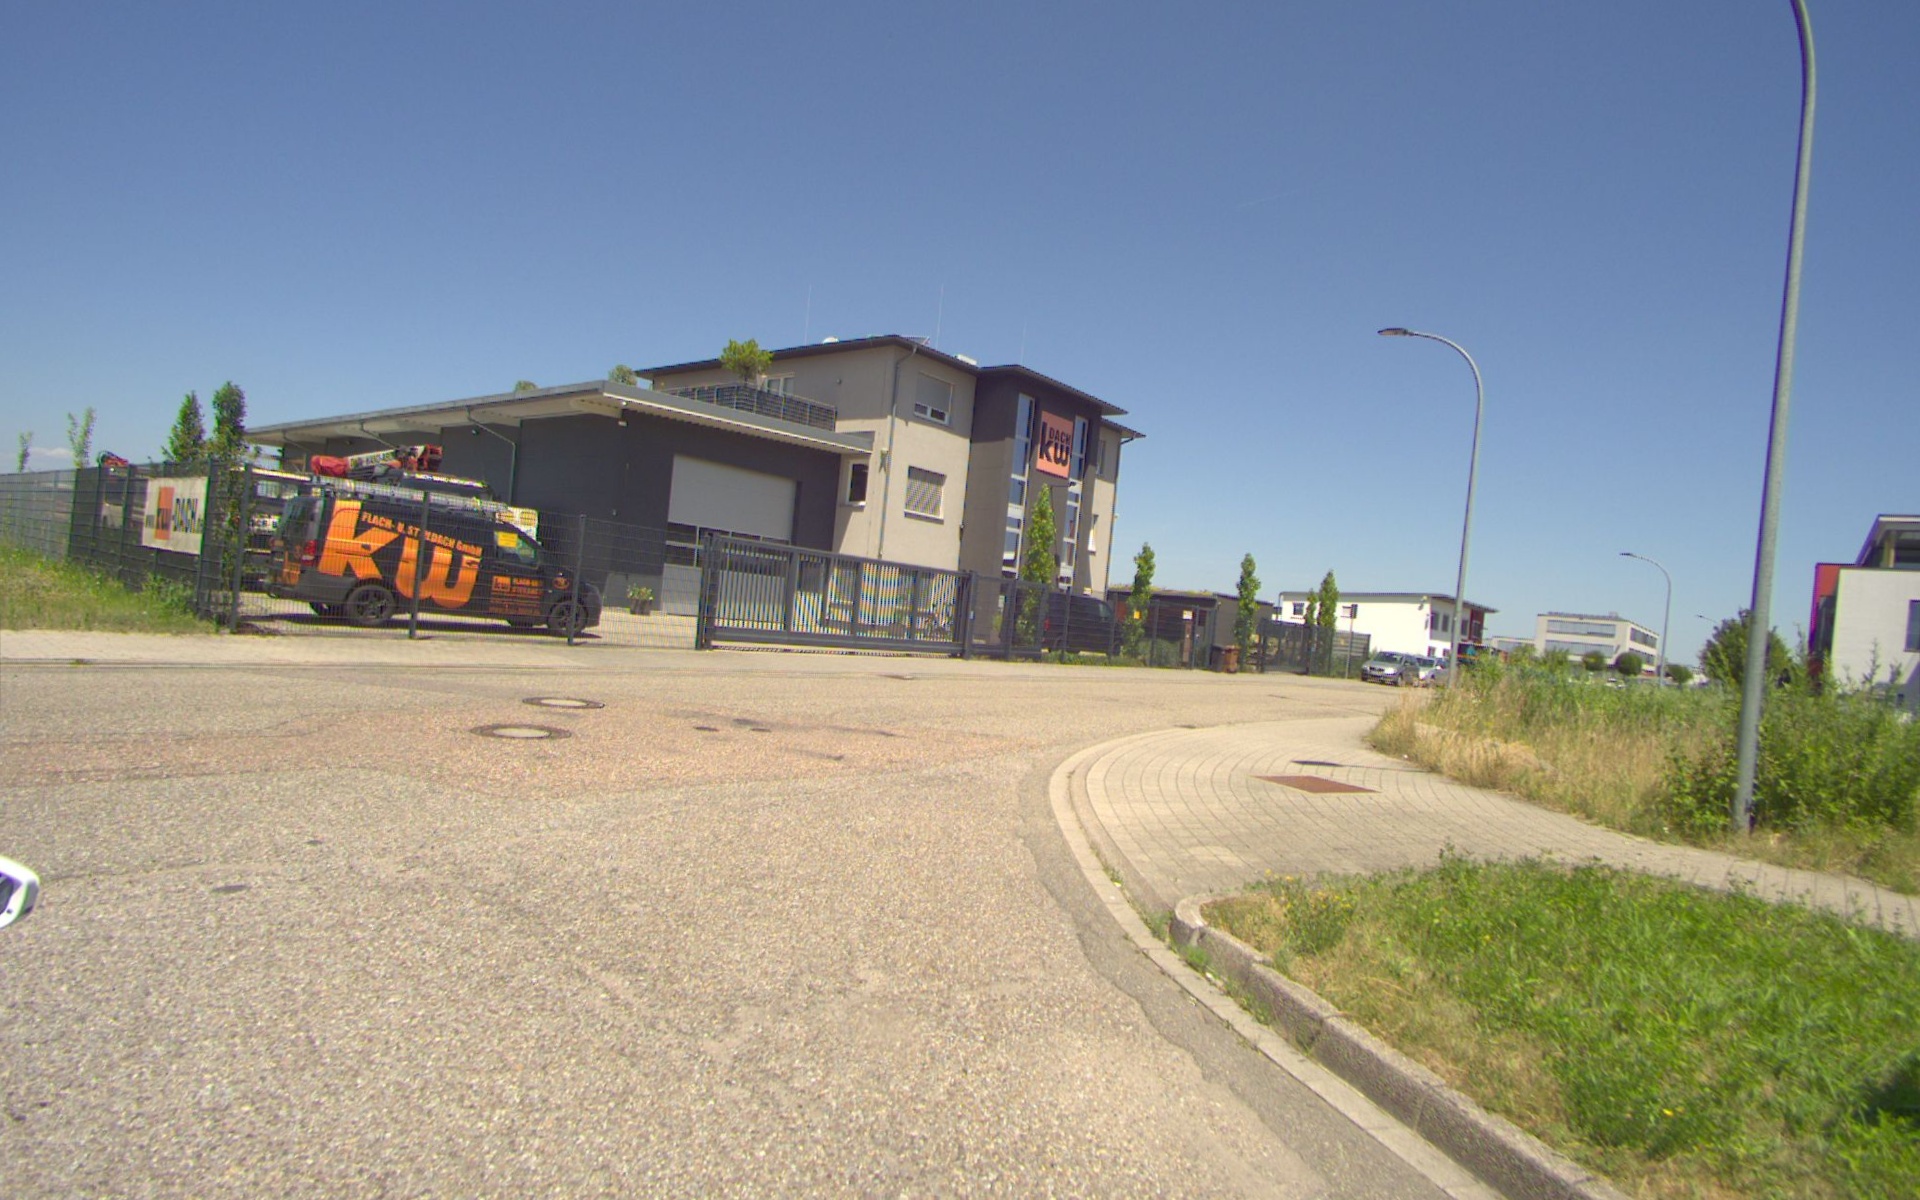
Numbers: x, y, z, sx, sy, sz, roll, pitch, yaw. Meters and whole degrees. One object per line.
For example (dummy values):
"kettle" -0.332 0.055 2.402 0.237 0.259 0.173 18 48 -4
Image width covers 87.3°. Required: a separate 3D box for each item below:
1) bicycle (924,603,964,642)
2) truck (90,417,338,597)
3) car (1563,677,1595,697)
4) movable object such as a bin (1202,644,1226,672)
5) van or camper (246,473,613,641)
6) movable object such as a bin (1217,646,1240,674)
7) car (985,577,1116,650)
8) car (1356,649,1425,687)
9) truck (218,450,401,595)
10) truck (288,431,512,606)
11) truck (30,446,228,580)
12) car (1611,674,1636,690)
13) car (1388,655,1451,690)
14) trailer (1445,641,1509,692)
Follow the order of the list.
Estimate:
"bicycle" -0.518 0.759 33.668 0.436 1.200 1.805 6 0 27
"truck" -16.258 -1.951 21.728 6.838 3.100 2.722 5 0 41
"car" 51.119 7.158 83.026 1.654 1.401 3.625 7 1 40
"movable object such as a bin" 8.656 1.986 34.271 0.553 0.896 0.433 6 1 42
"van or camper" -8.661 -0.615 16.840 1.972 2.191 4.929 7 1 40
"movable object such as a bin" 9.288 2.073 34.834 0.553 0.896 0.433 6 1 42
"car" 2.884 0.460 31.465 1.972 1.890 3.980 6 0 41
"car" 19.188 3.053 44.788 1.654 1.401 3.623 7 1 42
"truck" -21.076 -2.492 32.438 6.838 3.979 2.916 6 0 41
"truck" -15.327 -2.177 27.293 6.838 3.979 2.916 6 0 41
"truck" -22.816 -2.342 27.482 6.838 2.975 2.917 5 0 41
"car" 69.317 8.556 105.130 1.654 1.401 3.625 7 1 40
"car" 22.163 3.492 48.430 1.654 1.401 3.623 7 1 42
"trailer" 29.535 3.819 57.438 2.201 2.632 3.982 6 0 40
